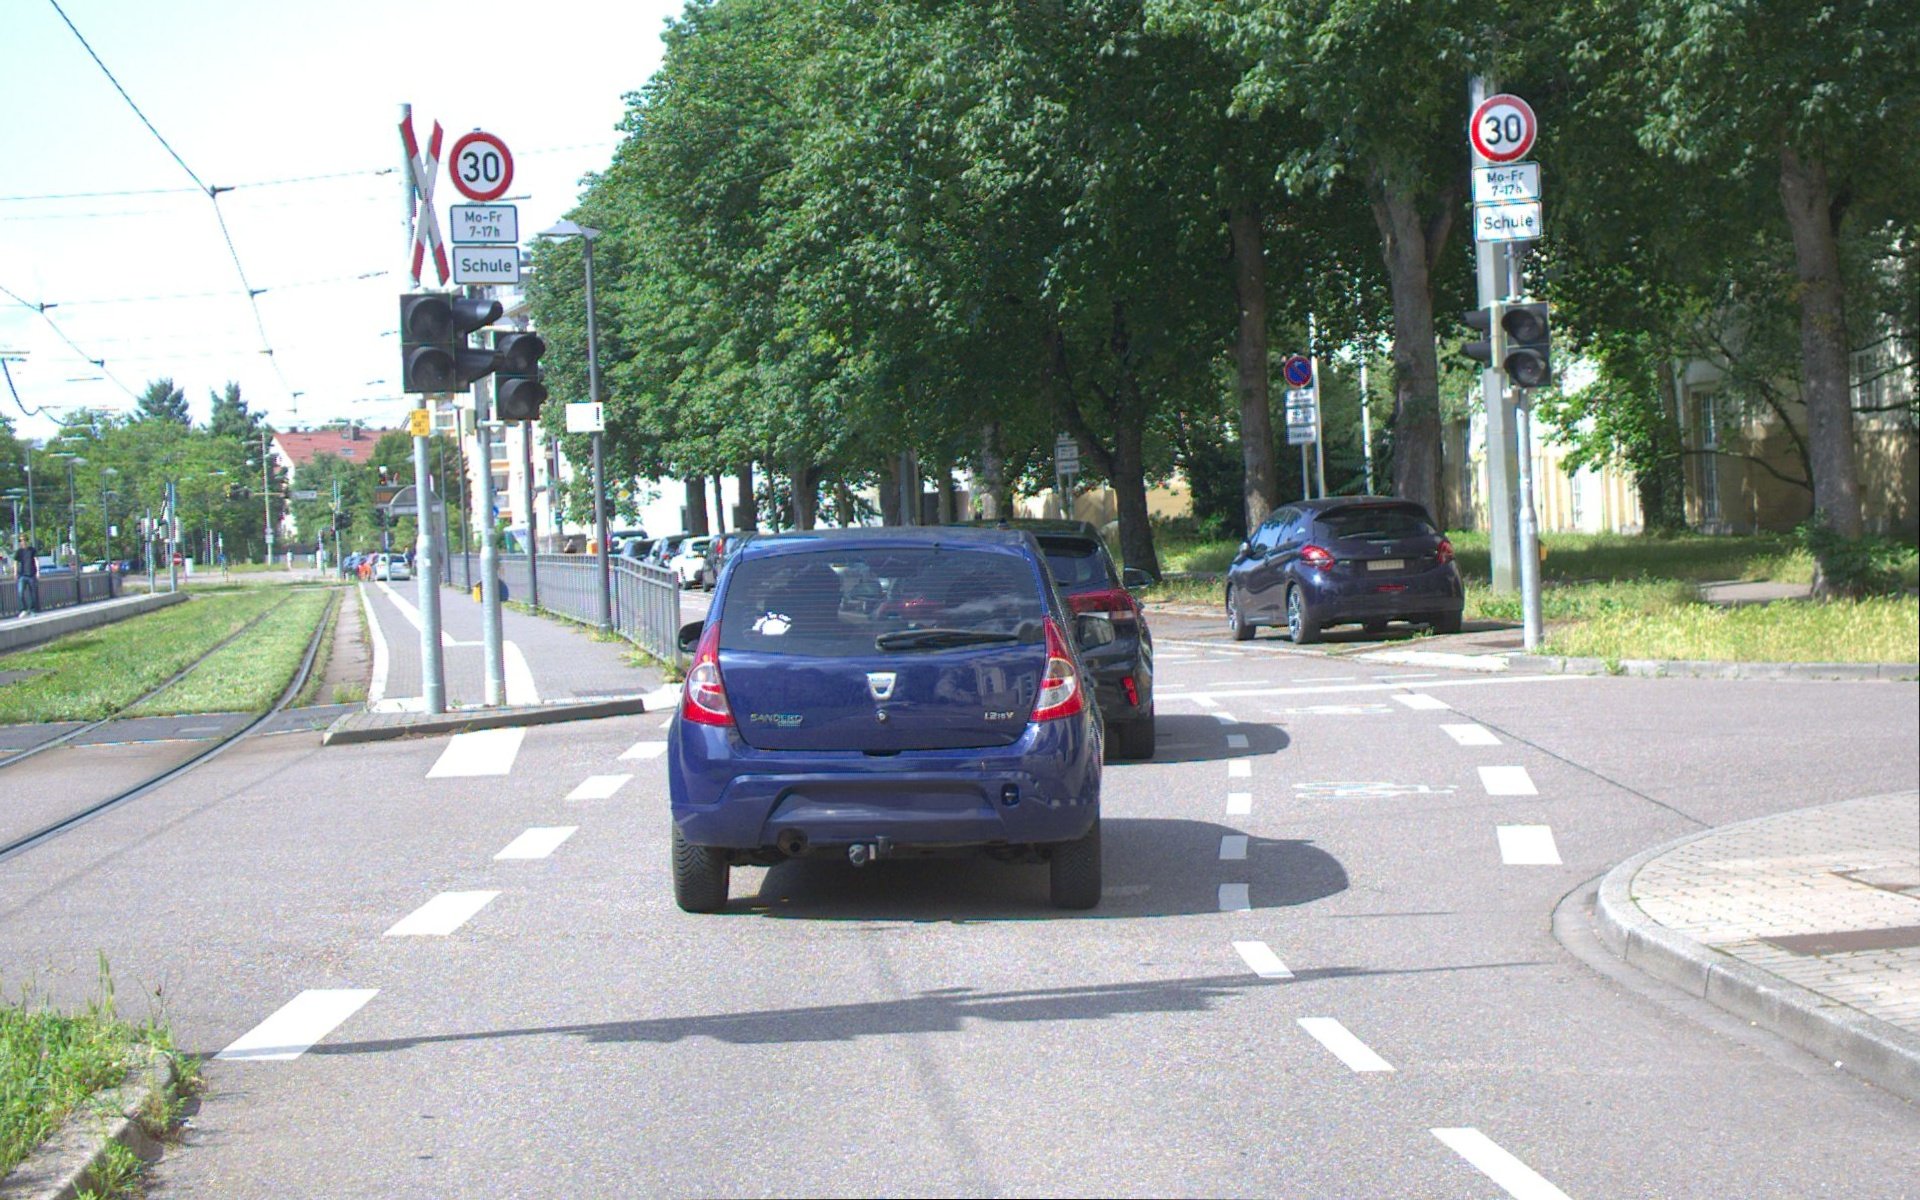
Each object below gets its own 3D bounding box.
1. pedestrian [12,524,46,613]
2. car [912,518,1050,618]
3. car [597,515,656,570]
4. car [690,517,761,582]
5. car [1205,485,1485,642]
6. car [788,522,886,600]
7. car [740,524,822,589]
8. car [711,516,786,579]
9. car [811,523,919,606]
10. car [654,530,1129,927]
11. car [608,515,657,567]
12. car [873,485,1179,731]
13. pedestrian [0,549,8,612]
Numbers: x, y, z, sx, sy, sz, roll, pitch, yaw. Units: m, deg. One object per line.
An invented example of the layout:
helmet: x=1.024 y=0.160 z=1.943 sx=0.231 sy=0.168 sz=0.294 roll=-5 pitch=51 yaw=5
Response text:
pedestrian: x=-21.340 y=-0.723 z=78.810 sx=0.660 sy=2.006 sz=0.804 roll=-3 pitch=1 yaw=-14
car: x=0.307 y=-0.553 z=56.309 sx=1.861 sy=1.440 sz=4.001 roll=-4 pitch=2 yaw=-4
car: x=-11.365 y=-1.980 z=117.294 sx=1.830 sy=1.755 sz=4.001 roll=-3 pitch=1 yaw=-4
car: x=-6.745 y=-1.467 z=98.757 sx=1.617 sy=1.744 sz=4.001 roll=-3 pitch=1 yaw=-9
car: x=3.916 y=-0.391 z=35.631 sx=1.765 sy=1.428 sz=3.905 roll=-4 pitch=2 yaw=-10
car: x=-2.622 y=-0.846 z=72.486 sx=1.851 sy=1.510 sz=4.001 roll=-3 pitch=1 yaw=-4
car: x=-4.439 y=-1.089 z=85.007 sx=1.861 sy=1.440 sz=4.001 roll=-4 pitch=2 yaw=-4
car: x=-5.584 y=-1.395 z=90.356 sx=1.827 sy=1.532 sz=4.001 roll=-4 pitch=2 yaw=-4
car: x=-1.906 y=-0.726 z=67.772 sx=1.861 sy=1.440 sz=4.001 roll=-4 pitch=2 yaw=-4
car: x=-0.289 y=0.442 z=14.739 sx=1.768 sy=1.457 sz=3.776 roll=0 pitch=1 yaw=-1
car: x=-11.753 y=-2.116 z=123.399 sx=1.667 sy=1.765 sz=4.001 roll=-3 pitch=1 yaw=-5
car: x=0.342 y=-0.008 z=21.787 sx=1.700 sy=1.363 sz=3.515 roll=-3 pitch=2 yaw=-2
pedestrian: x=-22.543 y=-0.422 z=79.151 sx=1.028 sy=1.432 sz=0.703 roll=-5 pitch=2 yaw=-24
